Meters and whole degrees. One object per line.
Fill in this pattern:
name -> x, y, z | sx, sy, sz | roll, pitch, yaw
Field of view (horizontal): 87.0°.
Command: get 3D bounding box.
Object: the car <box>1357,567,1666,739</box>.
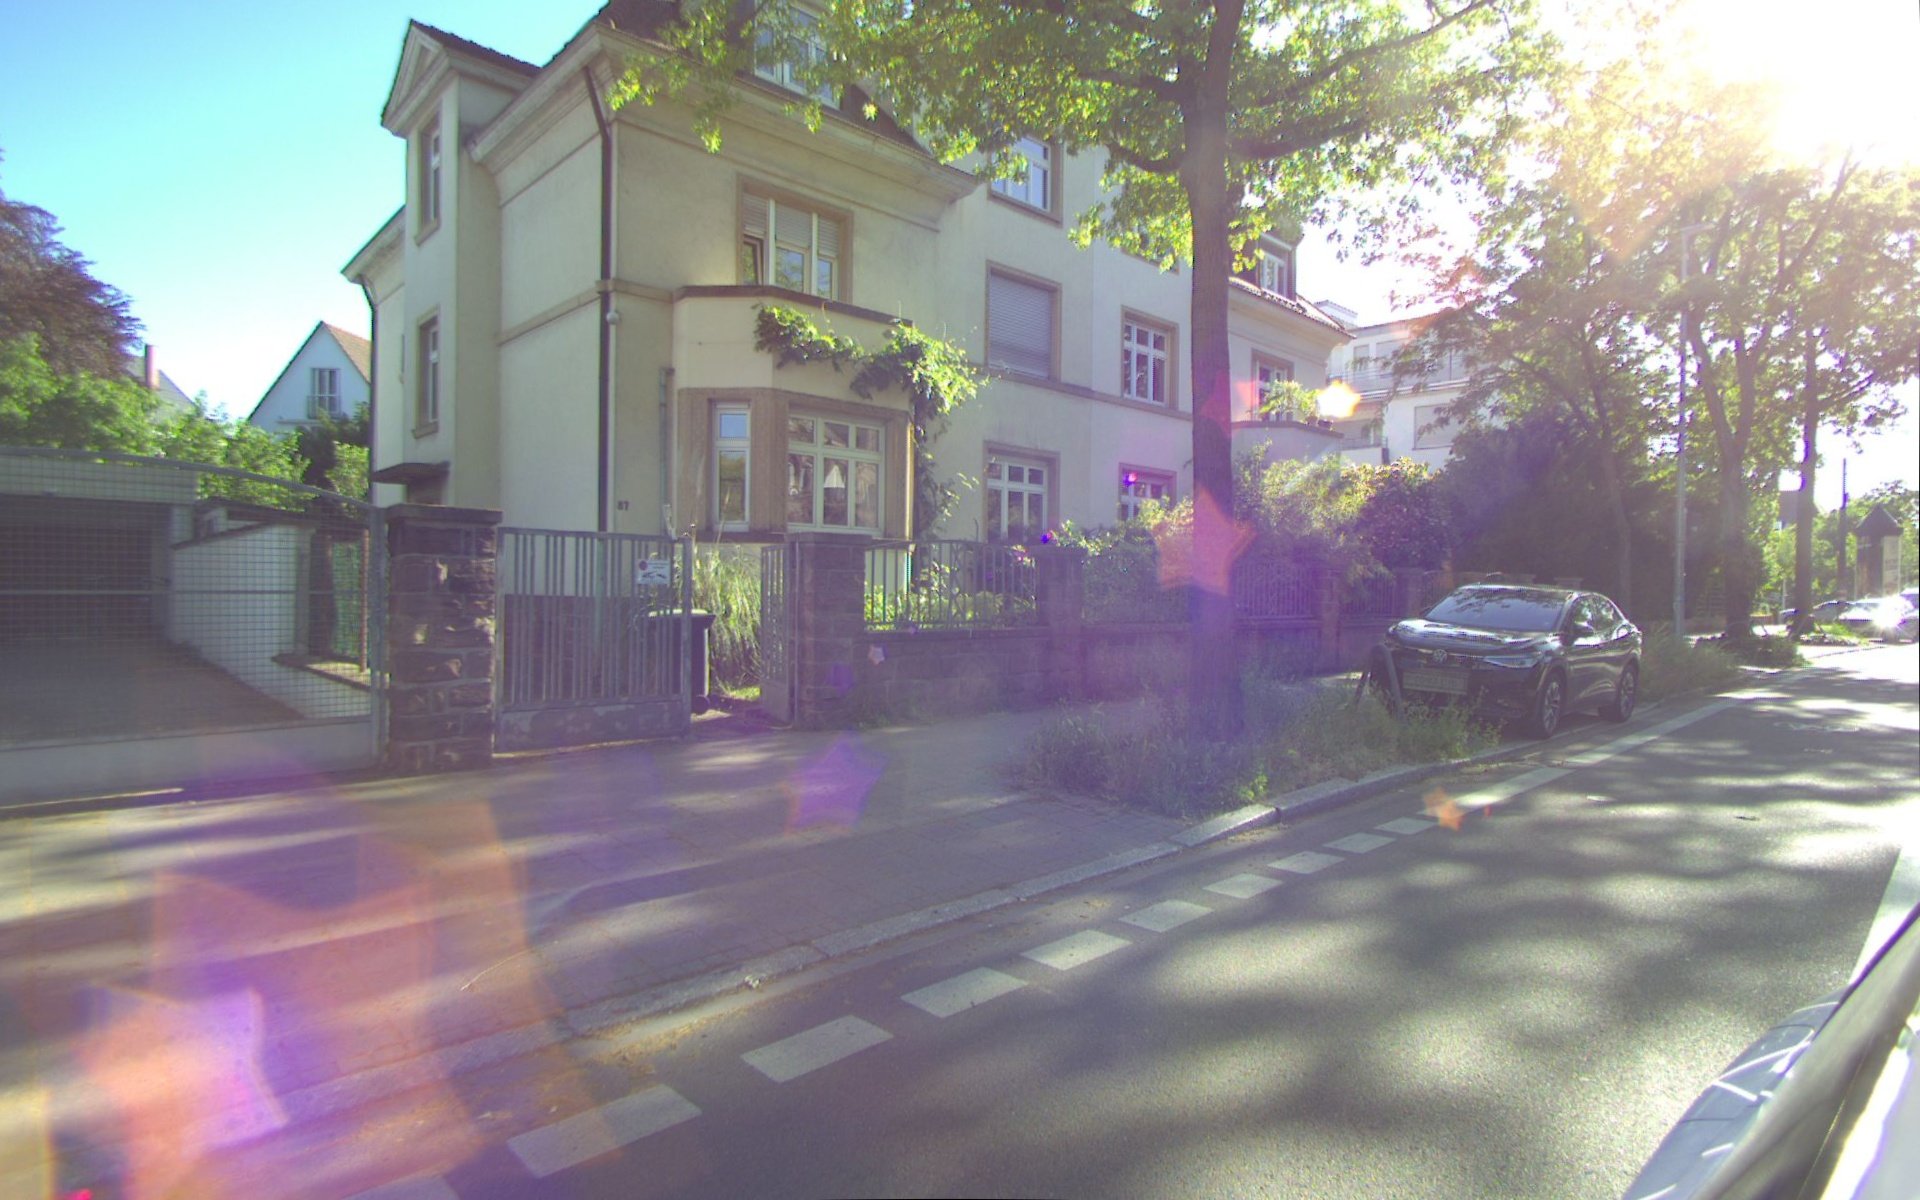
car -> 6.714, 0.497, 12.139 | 4.186, 1.619, 1.917 | 0, 4, -42

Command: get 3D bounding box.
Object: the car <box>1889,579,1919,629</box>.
car -> 36.679, 0.133, 37.855 | 4.580, 1.808, 1.903 | 0, 1, -35

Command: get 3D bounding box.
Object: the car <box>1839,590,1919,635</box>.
car -> 31.518, 0.385, 34.274 | 4.181, 1.427, 1.901 | 0, 1, -38

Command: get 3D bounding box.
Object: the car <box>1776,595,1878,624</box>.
car -> 46.075, 0.463, 53.838 | 1.784, 1.459, 3.990 | 0, 1, -44

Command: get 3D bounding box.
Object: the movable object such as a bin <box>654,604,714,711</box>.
movable object such as a bin -> -2.919, 0.585, 10.675 | 0.551, 1.062, 0.676 | 0, 0, -20
